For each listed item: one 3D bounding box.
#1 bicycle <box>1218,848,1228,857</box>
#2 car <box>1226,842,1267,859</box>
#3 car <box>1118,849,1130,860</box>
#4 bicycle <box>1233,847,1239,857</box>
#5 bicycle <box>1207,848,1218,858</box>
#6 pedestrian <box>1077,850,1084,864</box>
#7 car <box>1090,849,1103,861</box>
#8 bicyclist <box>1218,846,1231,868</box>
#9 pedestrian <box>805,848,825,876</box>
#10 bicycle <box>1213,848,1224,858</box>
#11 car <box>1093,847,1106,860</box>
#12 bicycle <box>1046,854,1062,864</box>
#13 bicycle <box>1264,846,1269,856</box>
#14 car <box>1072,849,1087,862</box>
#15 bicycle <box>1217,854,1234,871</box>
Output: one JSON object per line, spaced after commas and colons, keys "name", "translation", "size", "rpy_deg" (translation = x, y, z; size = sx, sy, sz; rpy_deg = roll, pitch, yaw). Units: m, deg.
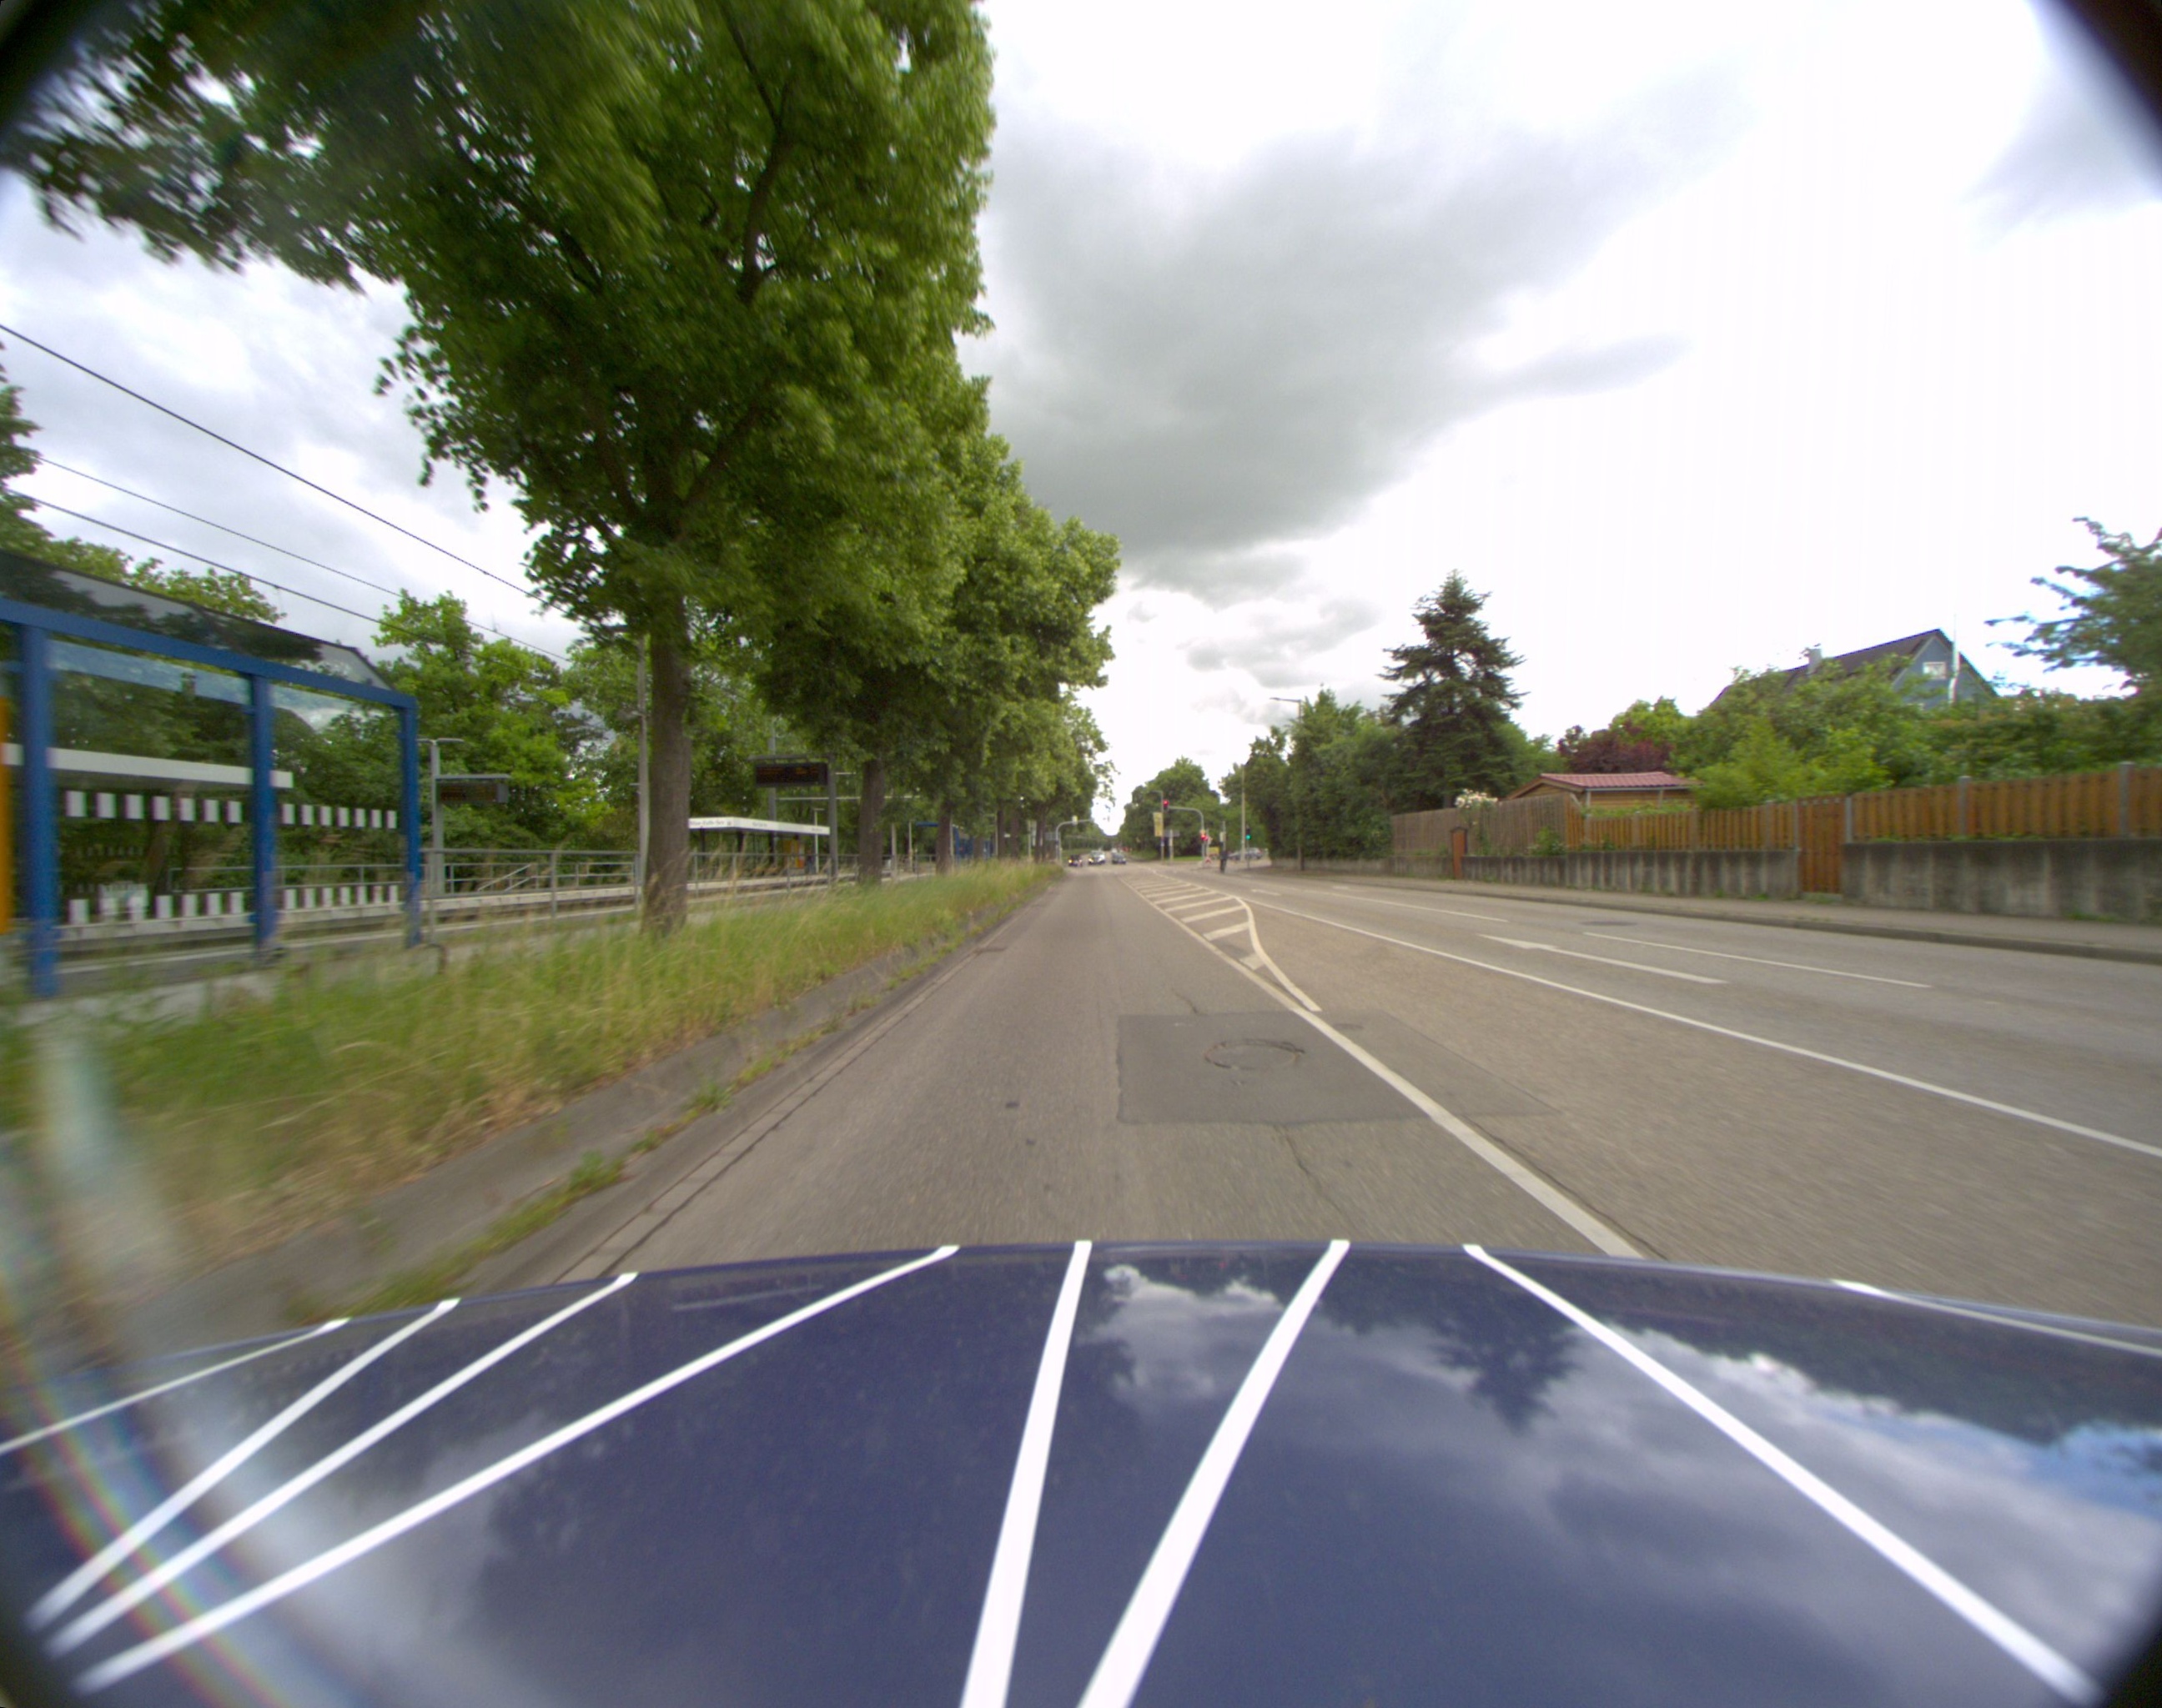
{"name": "bicycle", "translation": [19.913, -0.191, 106.521], "size": [0.544, 1.245, 1.939], "rpy_deg": [-2, 2, 38]}
{"name": "car", "translation": [21.296, -0.445, 97.750], "size": [4.734, 1.842, 2.003], "rpy_deg": [-3, 1, 29]}
{"name": "car", "translation": [5.828, 0.014, 103.117], "size": [1.560, 1.458, 3.807], "rpy_deg": [0, 0, 1]}
{"name": "bicycle", "translation": [21.617, -0.270, 105.648], "size": [0.544, 1.245, 1.937], "rpy_deg": [-3, 1, 18]}
{"name": "bicycle", "translation": [18.638, -0.138, 107.531], "size": [0.544, 1.245, 1.939], "rpy_deg": [-2, 1, 38]}
{"name": "pedestrian", "translation": [-0.090, 0.372, 93.765], "size": [0.753, 1.727, 0.840], "rpy_deg": [1, 1, 5]}
{"name": "car", "translation": [2.083, 0.127, 103.285], "size": [1.708, 1.472, 3.667], "rpy_deg": [-2, 1, 1]}
{"name": "bicyclist", "translation": [10.338, 0.190, 54.726], "size": [0.644, 1.526, 0.978], "rpy_deg": [-3, 1, -4]}
{"name": "pedestrian", "translation": [-15.078, 0.451, 43.064], "size": [0.720, 1.503, 0.724], "rpy_deg": [-3, 1, 4]}
{"name": "bicycle", "translation": [19.363, -0.171, 107.147], "size": [0.544, 1.245, 1.939], "rpy_deg": [-2, 2, 38]}
{"name": "car", "translation": [2.720, -0.123, 113.821], "size": [1.912, 1.832, 5.281], "rpy_deg": [-2, 1, 1]}
{"name": "bicycle", "translation": [-3.021, 0.605, 84.924], "size": [1.679, 1.084, 0.602], "rpy_deg": [1, 1, -3]}
{"name": "bicycle", "translation": [25.418, -0.453, 104.117], "size": [0.544, 1.245, 1.937], "rpy_deg": [-3, 1, 18]}
{"name": "car", "translation": [-0.201, 0.209, 101.726], "size": [1.807, 1.520, 3.929], "rpy_deg": [-3, 1, 3]}
{"name": "bicycle", "translation": [10.369, 0.588, 54.671], "size": [0.644, 1.138, 2.147], "rpy_deg": [-3, 0, -4]}
